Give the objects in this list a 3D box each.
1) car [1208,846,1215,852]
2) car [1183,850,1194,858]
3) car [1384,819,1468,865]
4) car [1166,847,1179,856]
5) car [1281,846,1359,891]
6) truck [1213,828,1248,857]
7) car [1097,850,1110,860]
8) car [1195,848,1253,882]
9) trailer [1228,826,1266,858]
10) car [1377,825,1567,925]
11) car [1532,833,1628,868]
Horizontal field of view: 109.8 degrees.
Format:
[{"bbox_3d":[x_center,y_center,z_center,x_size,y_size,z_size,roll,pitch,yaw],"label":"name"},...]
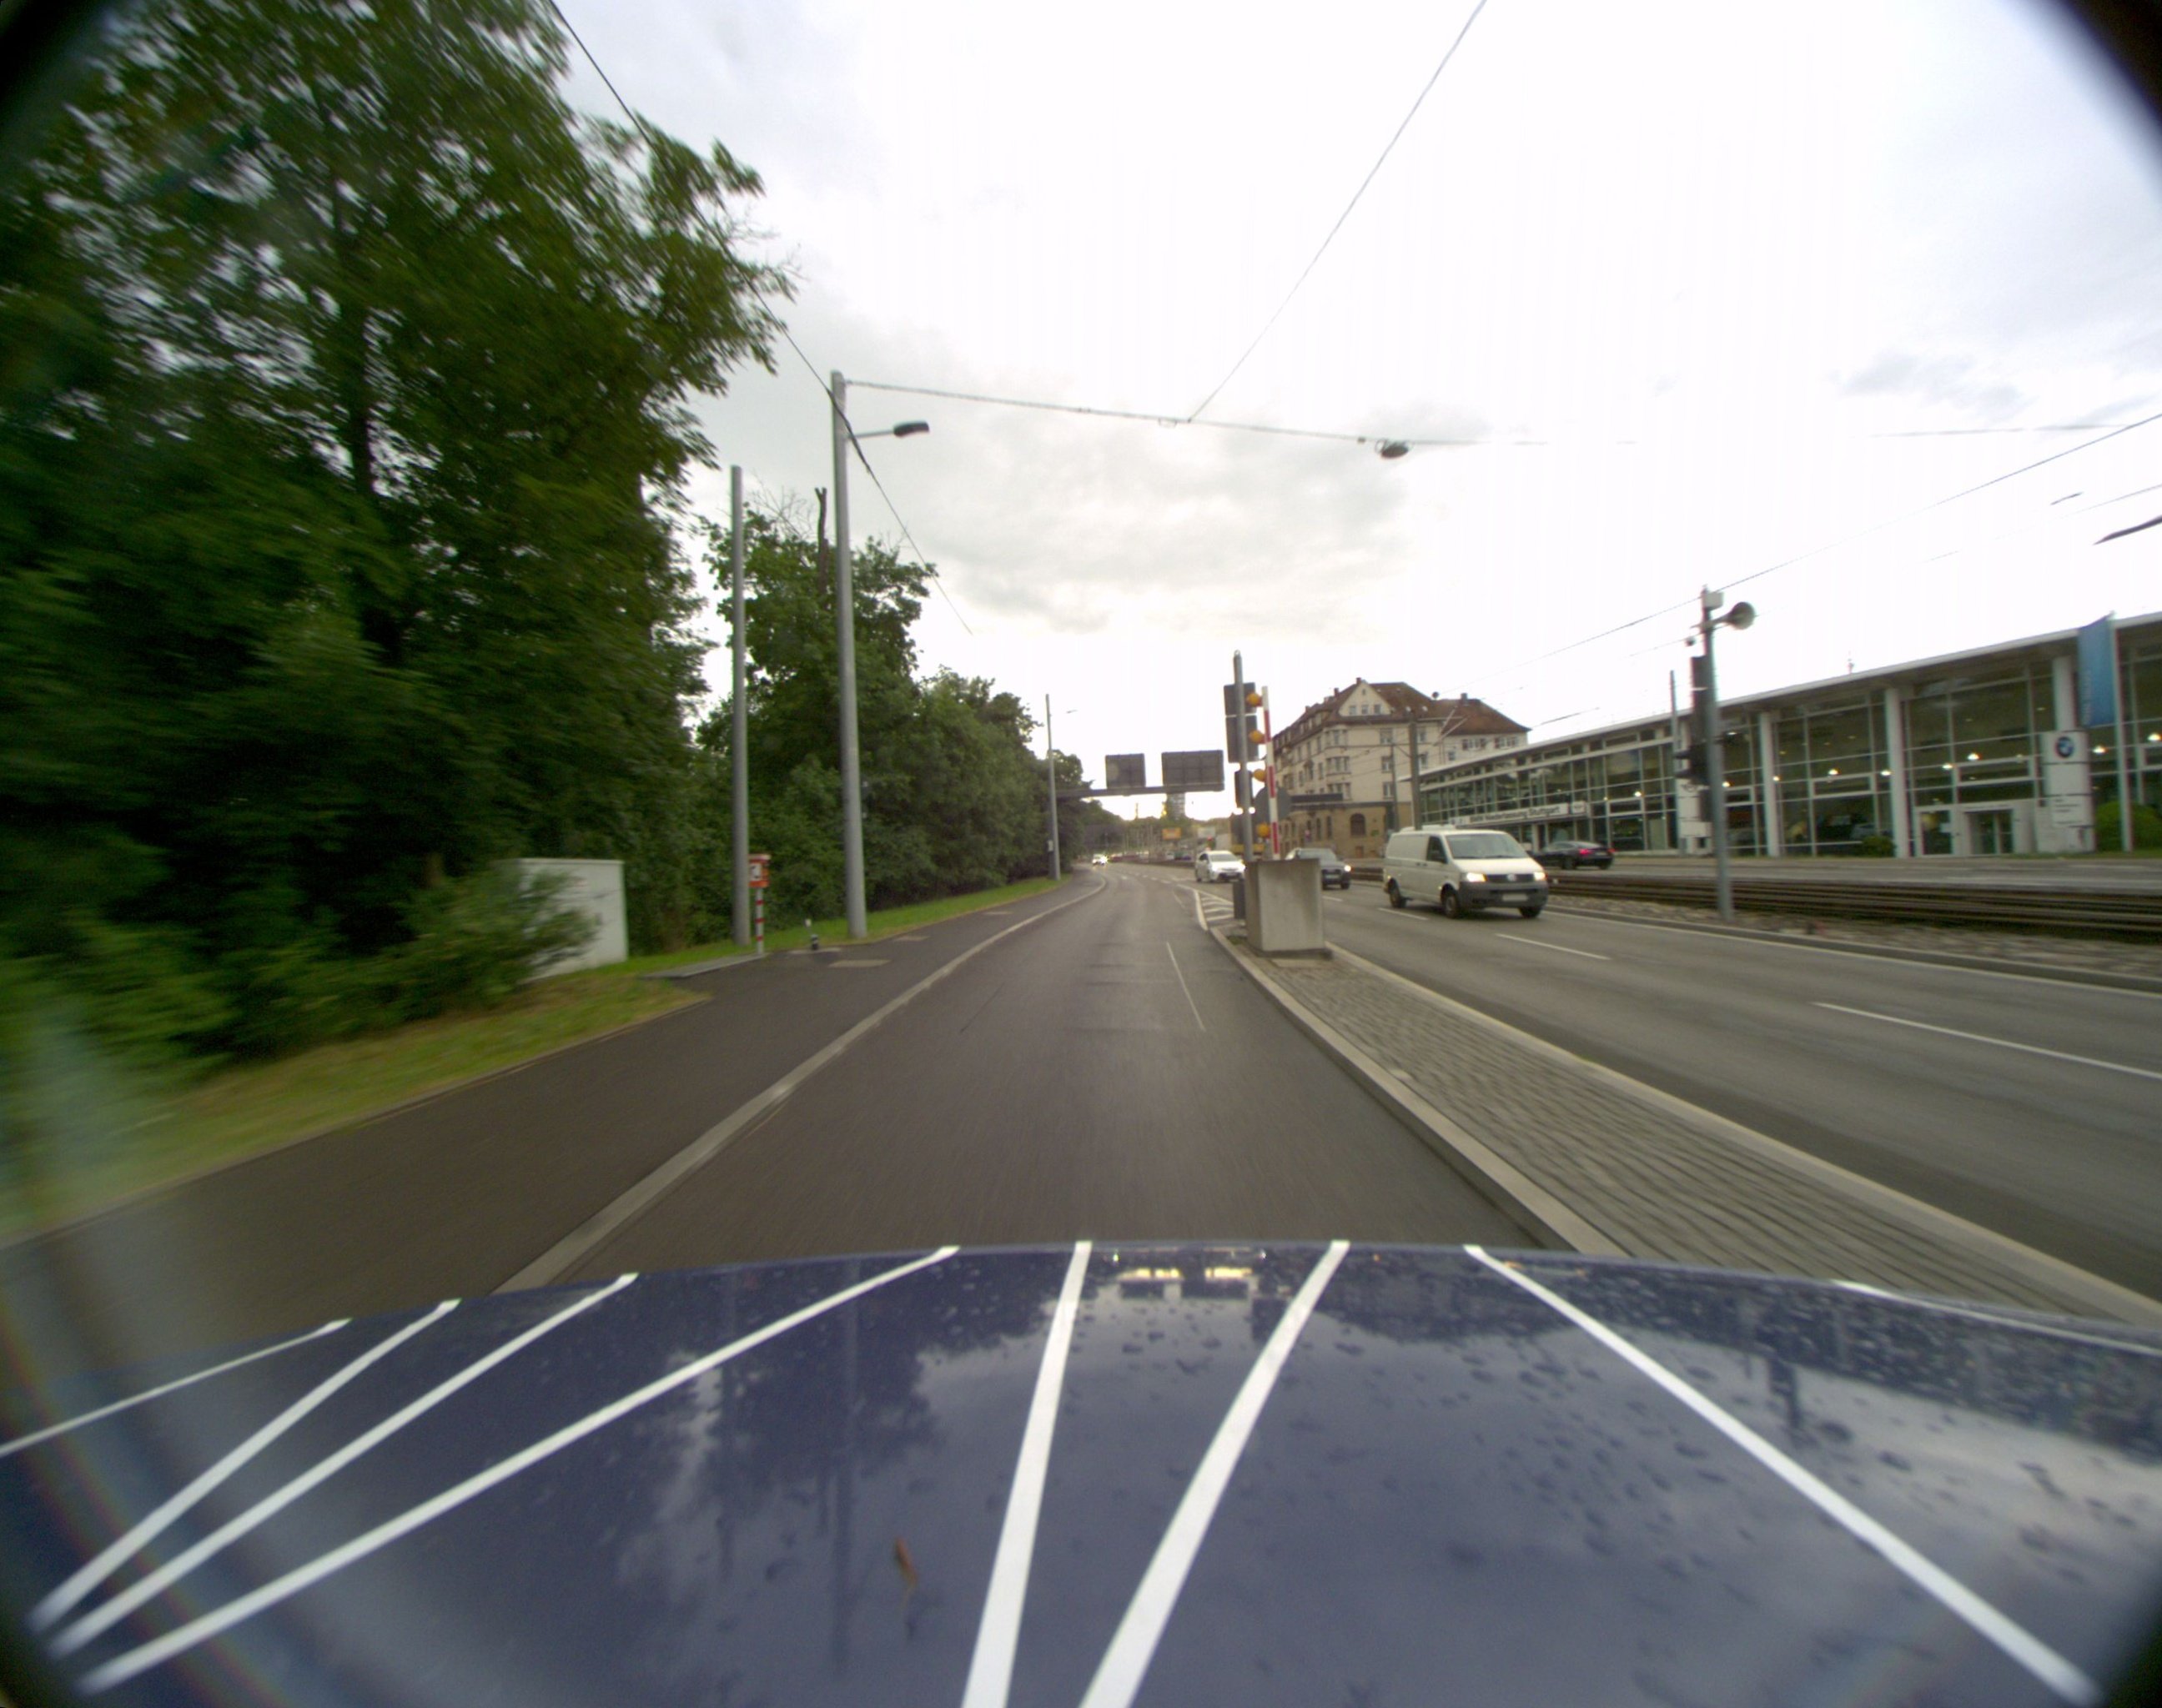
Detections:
[{"bbox_3d":[40.474,-1.651,235.098,1.834,1.787,4.220,-1,0,13],"label":"car"},{"bbox_3d":[22.684,-0.010,160.188,1.610,1.425,4.331,-2,0,-1],"label":"car"},{"bbox_3d":[20.999,-0.684,46.647,2.056,2.583,6.163,-3,0,-2],"label":"car"},{"bbox_3d":[19.713,-0.494,164.128,1.999,1.863,5.192,-2,0,-2],"label":"car"},{"bbox_3d":[9.256,0.529,29.692,1.708,1.564,3.895,-2,0,-1],"label":"car"},{"bbox_3d":[21.993,-1.569,112.335,2.690,4.028,10.140,-2,0,-2],"label":"truck"},{"bbox_3d":[3.613,0.195,122.256,1.710,1.585,3.999,-3,0,-1],"label":"car"},{"bbox_3d":[7.204,0.529,38.703,1.982,1.564,4.318,-2,0,-1],"label":"car"},{"bbox_3d":[22.310,-1.584,102.751,2.690,4.028,9.081,-2,0,-2],"label":"trailer"},{"bbox_3d":[8.835,0.430,17.730,1.914,1.947,4.717,-2,0,-1],"label":"car"},{"bbox_3d":[24.349,-0.162,37.264,1.746,1.506,4.339,-2,0,-2],"label":"car"}]
